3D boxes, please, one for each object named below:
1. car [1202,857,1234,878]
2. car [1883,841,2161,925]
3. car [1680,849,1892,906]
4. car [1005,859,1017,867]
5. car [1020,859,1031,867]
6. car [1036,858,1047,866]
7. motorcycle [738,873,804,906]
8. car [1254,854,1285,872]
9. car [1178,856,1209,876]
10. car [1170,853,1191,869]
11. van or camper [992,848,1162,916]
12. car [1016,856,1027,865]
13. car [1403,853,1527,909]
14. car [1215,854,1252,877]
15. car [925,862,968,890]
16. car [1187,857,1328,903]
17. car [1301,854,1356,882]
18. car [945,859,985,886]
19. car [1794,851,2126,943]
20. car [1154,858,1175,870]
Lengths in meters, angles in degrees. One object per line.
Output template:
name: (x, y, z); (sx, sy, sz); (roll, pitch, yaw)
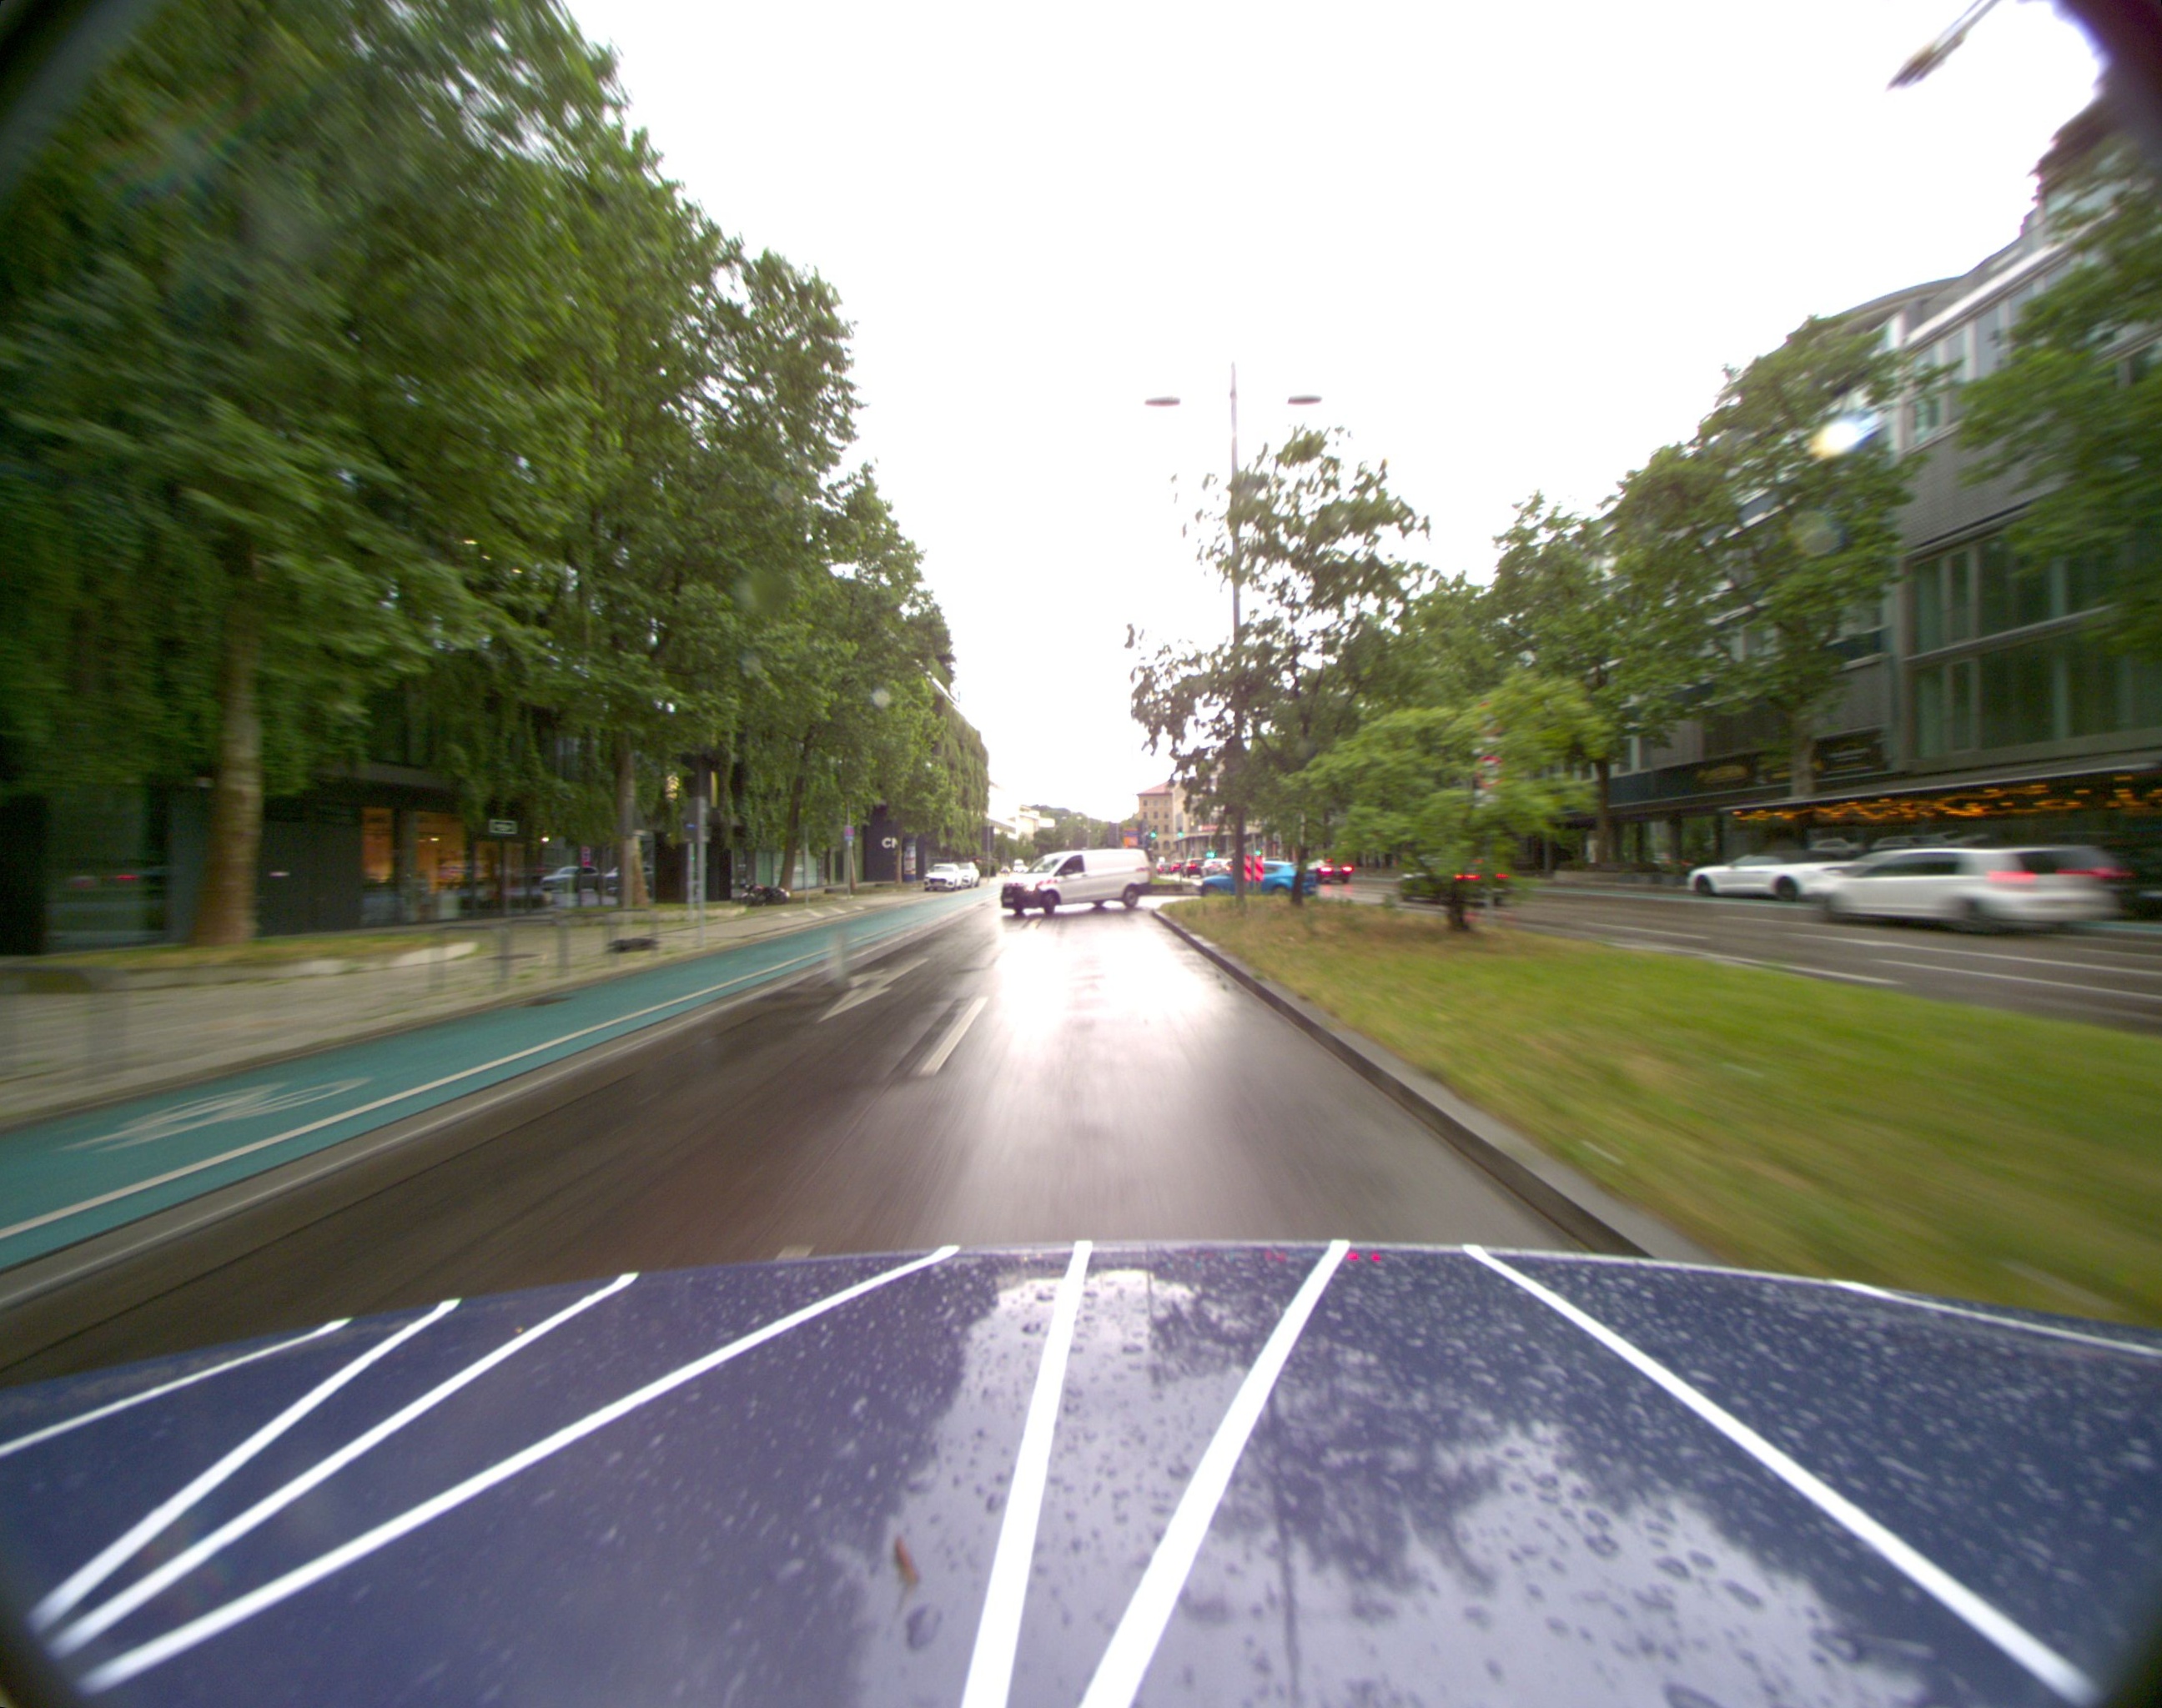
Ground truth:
car: (10.988, 1.067, 61.177); (1.739, 1.564, 4.832); (-1, -1, 0)
car: (19.631, 0.535, 15.721); (1.841, 1.499, 4.000); (-1, -1, 0)
car: (19.467, 0.625, 21.334); (1.563, 1.345, 4.683); (-2, -1, 0)
car: (-14.121, 1.897, 153.440); (1.739, 1.543, 4.671); (-1, 0, 0)
car: (-11.330, 1.855, 155.357); (1.739, 1.543, 4.671); (-1, 0, 0)
car: (-8.076, 1.600, 156.213); (1.979, 1.543, 4.671); (-1, 0, 0)
motorcycle: (-13.198, 1.508, 32.390); (2.313, 1.263, 1.052); (-3, 0, -1)
car: (17.189, 0.819, 69.564); (1.757, 1.556, 4.000); (-1, 0, -1)
car: (10.219, 1.068, 69.412); (1.840, 1.756, 5.108); (-1, -1, -2)
car: (12.593, 0.828, 96.300); (1.754, 1.973, 4.094); (-1, 0, -4)
van or camper: (-0.037, 0.841, 24.547); (5.260, 1.902, 1.995); (-2, -2, -36)
car: (-12.791, 1.382, 162.444); (1.998, 2.001, 4.000); (-1, -1, 0)
car: (11.766, 0.772, 23.603); (1.753, 1.467, 4.095); (-2, 1, 0)
car: (10.691, 0.754, 53.569); (1.754, 1.467, 4.095); (-2, 1, 0)
car: (-8.359, 1.335, 47.689); (1.848, 1.623, 4.787); (-1, -1, 0)
car: (6.070, 0.932, 26.471); (4.384, 1.473, 1.853); (-3, -2, 41)
car: (14.166, 0.762, 43.710); (1.754, 1.467, 4.095); (-2, 1, 0)
car: (-8.122, 1.274, 53.752); (1.848, 1.827, 5.095); (0, -1, 2)
car: (15.715, 0.708, 13.929); (1.848, 1.420, 3.643); (-1, -1, 0)
car: (9.865, 1.170, 89.989); (1.754, 1.314, 4.094); (-1, 0, -4)
